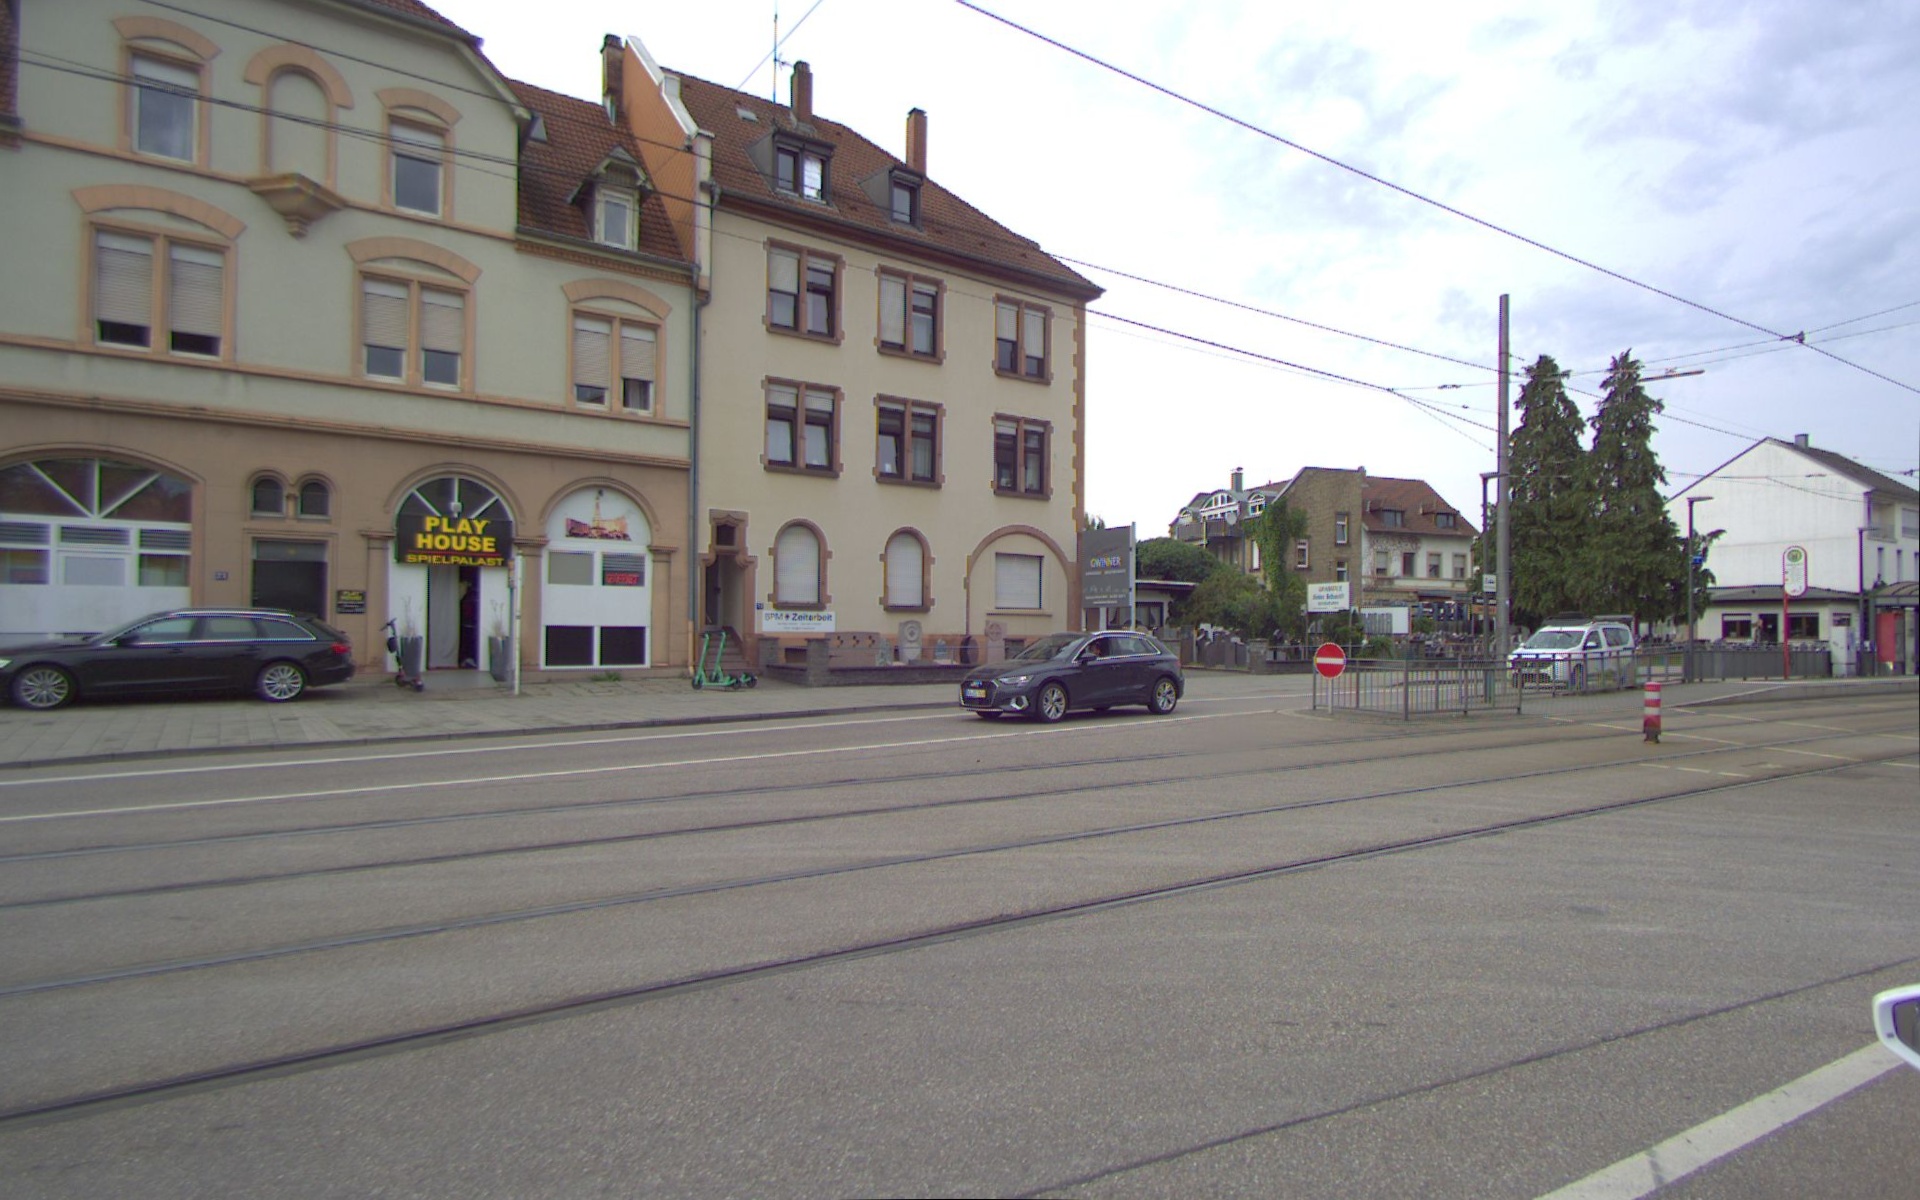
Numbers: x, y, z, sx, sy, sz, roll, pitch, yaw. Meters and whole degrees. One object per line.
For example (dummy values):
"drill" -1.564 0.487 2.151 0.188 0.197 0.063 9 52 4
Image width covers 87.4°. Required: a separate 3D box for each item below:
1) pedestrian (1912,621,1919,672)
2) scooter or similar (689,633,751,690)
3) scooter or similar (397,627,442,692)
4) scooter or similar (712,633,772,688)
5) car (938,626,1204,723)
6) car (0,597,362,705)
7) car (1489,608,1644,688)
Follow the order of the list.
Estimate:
"pedestrian" 32.233 1.539 33.369 0.686 1.686 0.615 1 -1 -17
"scooter or similar" -4.951 1.265 20.756 1.156 1.116 0.527 1 -1 27
"scooter or similar" -10.106 1.091 18.763 0.523 1.116 1.165 2 1 -38
"scooter or similar" -4.662 1.283 21.511 1.156 1.116 0.527 1 -1 27
"car" 1.953 1.204 17.074 4.381 1.447 1.869 2 -3 -35
"car" -12.614 0.792 16.321 4.854 1.512 1.980 2 0 -35
"car" 16.558 1.306 27.375 4.477 2.015 1.874 2 -2 -33
